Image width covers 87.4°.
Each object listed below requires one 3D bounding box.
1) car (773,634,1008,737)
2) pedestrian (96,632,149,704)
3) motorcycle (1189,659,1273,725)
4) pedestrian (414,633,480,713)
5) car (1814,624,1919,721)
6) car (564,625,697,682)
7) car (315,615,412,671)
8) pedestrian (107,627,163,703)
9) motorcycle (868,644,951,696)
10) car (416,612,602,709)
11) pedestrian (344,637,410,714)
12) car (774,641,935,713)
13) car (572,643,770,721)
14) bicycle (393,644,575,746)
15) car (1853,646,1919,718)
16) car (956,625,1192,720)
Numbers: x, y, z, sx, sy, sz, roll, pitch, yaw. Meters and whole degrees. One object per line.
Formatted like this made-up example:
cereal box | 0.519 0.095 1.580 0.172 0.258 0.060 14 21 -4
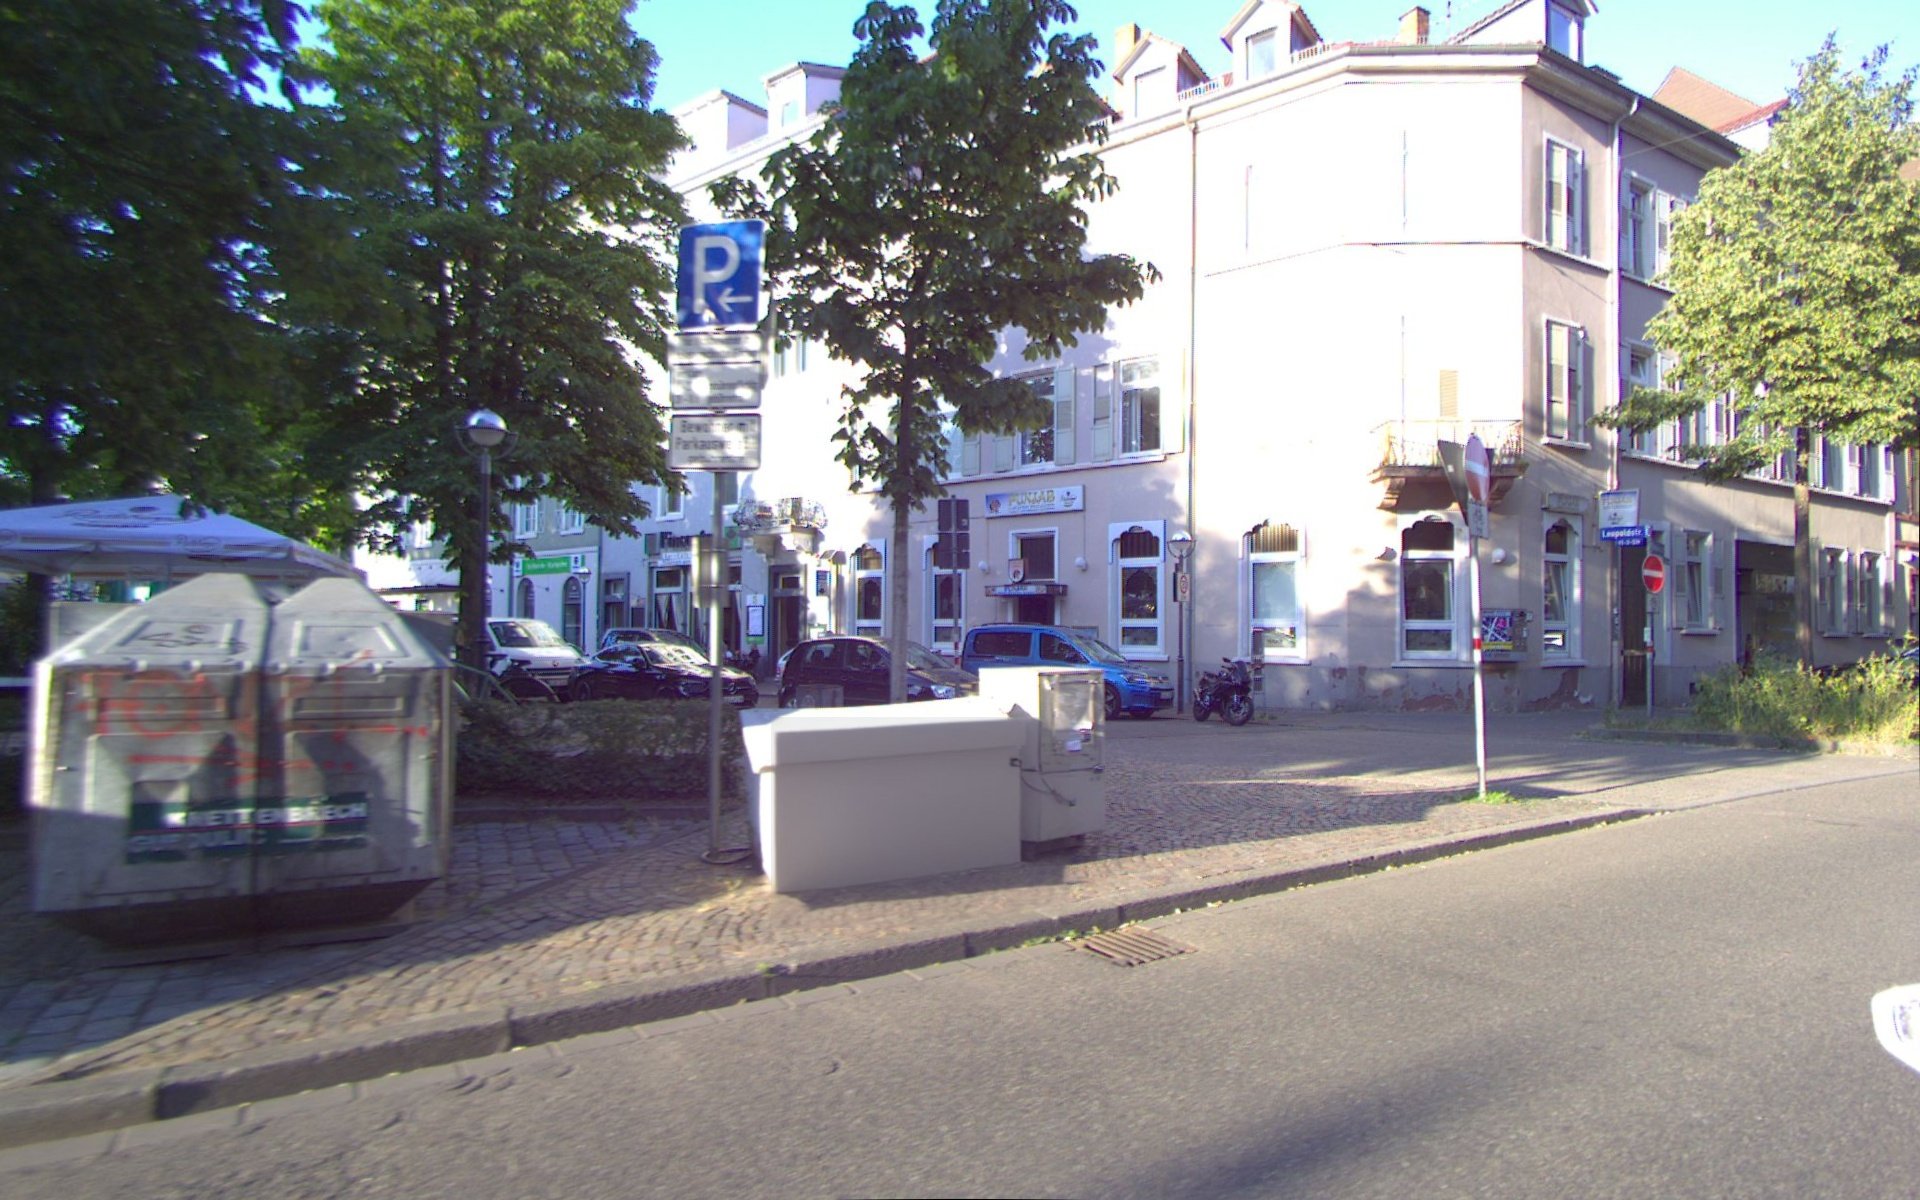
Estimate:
car | -1.150 1.280 16.062 3.468 1.399 1.701 0 -1 36
pedestrian | -14.292 1.156 17.149 0.519 1.189 0.533 1 -3 -22
motorcycle | 4.952 1.665 18.514 0.733 1.044 2.096 1 -1 -7
pedestrian | -8.138 1.147 15.938 0.842 1.214 0.790 1 -3 -34
car | 19.759 1.449 19.520 2.009 1.859 4.429 2 -1 -29
car | -9.611 1.507 29.209 3.920 1.459 1.831 0 -1 39
car | -23.304 1.618 39.187 3.938 2.040 1.992 0 -1 39
pedestrian | -13.129 1.029 15.997 0.519 1.189 0.533 1 -3 -22
motorcycle | -1.326 1.793 26.082 2.291 1.202 0.682 0 -1 41
car | -10.616 1.321 23.495 4.757 2.013 2.034 0 -1 39
pedestrian | -9.276 1.185 15.978 0.842 1.173 0.790 1 -3 -34
car | -2.521 1.743 23.545 3.778 1.430 1.534 0 -1 39
car | -5.636 1.510 19.465 3.711 1.254 1.824 0 -1 37
bicycle | -5.273 1.045 11.219 1.781 1.082 0.360 1 -1 -18
car | 21.394 1.757 20.785 1.809 1.463 4.014 1 -1 -29
car | 2.247 1.366 20.245 4.360 1.699 1.954 0 -1 35
